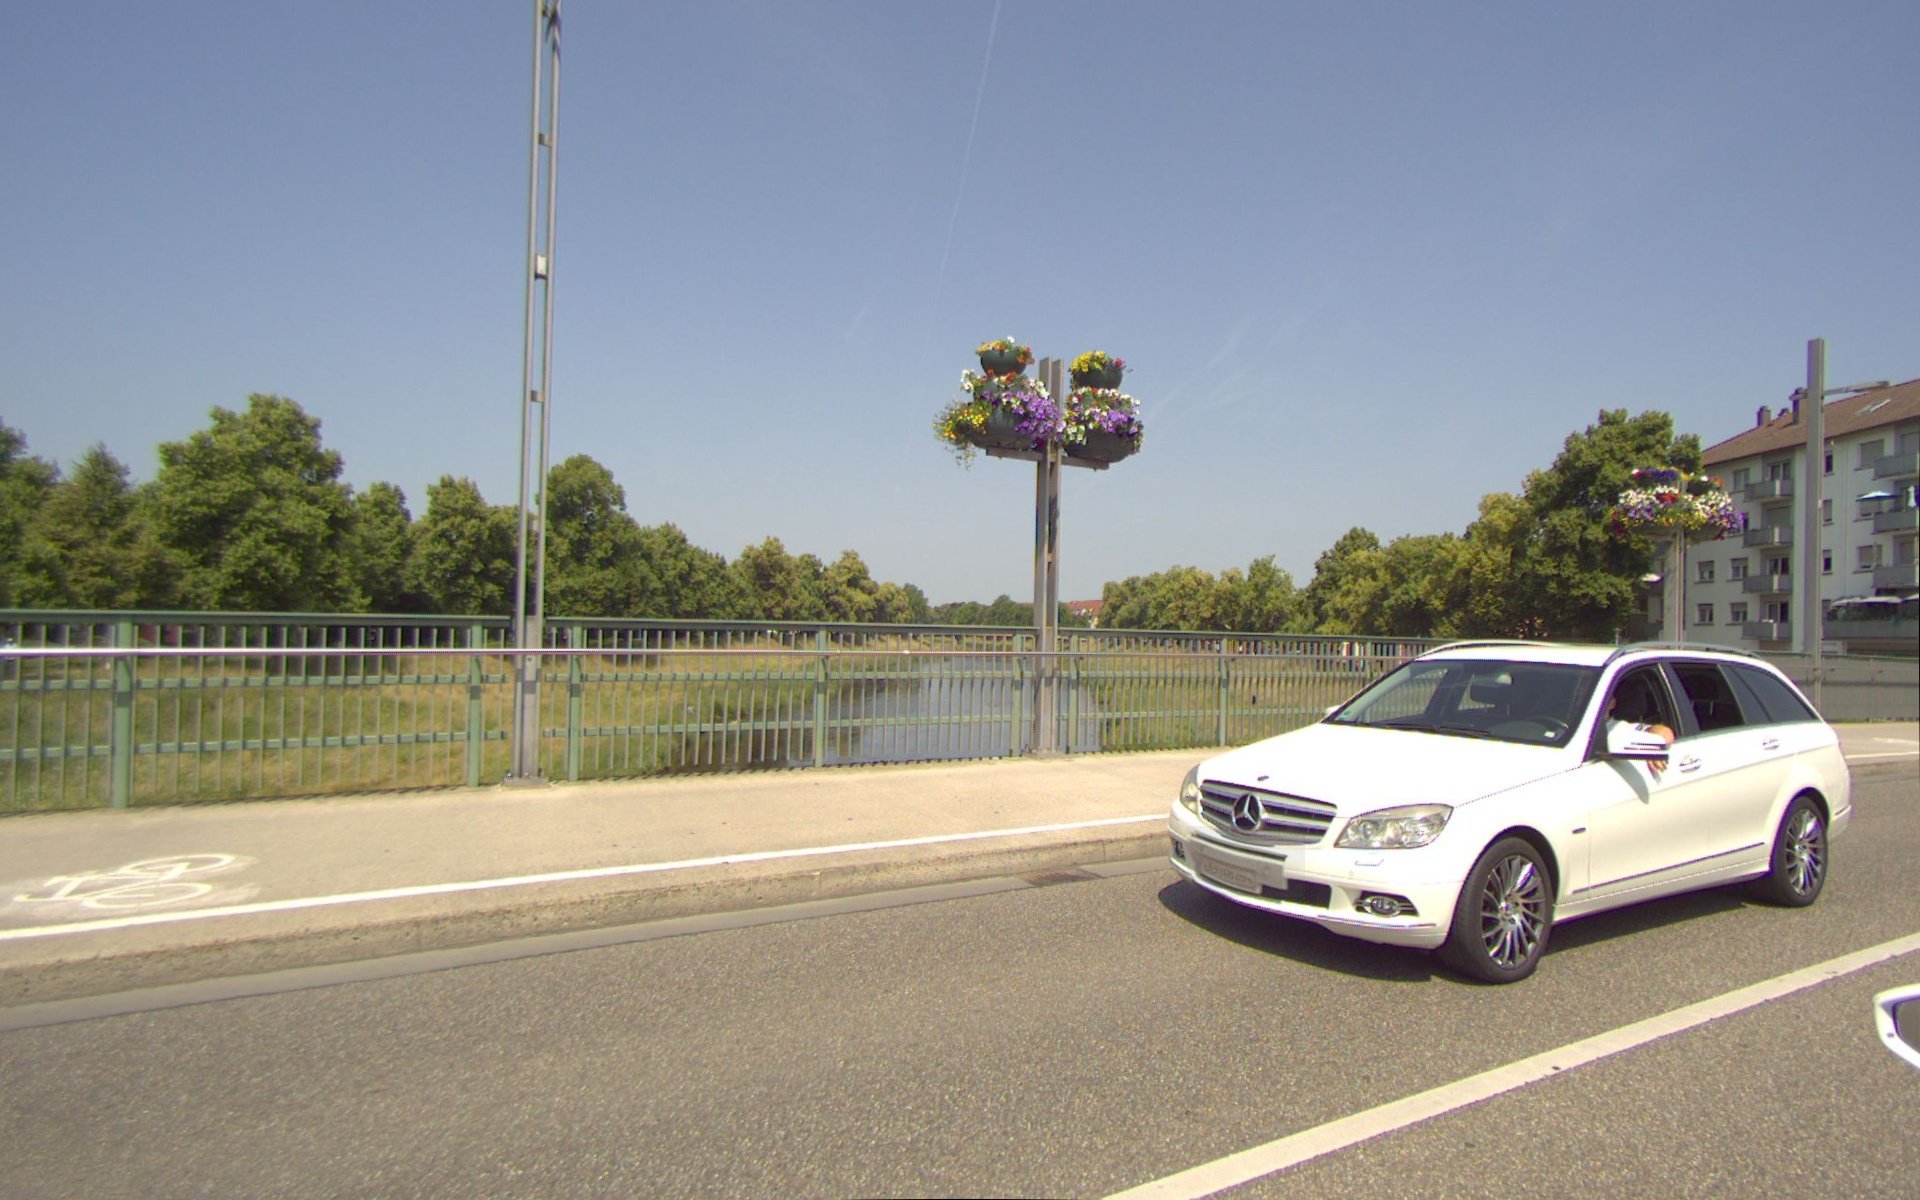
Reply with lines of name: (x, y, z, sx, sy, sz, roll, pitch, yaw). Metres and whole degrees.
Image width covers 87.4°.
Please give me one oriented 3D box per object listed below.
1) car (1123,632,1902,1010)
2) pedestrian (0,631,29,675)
car: (3.357, 0.963, 5.855, 4.658, 1.451, 1.836, 2, -3, -30)
pedestrian: (-45.286, 2.518, 48.077, 0.874, 2.040, 0.719, 2, 0, -32)
